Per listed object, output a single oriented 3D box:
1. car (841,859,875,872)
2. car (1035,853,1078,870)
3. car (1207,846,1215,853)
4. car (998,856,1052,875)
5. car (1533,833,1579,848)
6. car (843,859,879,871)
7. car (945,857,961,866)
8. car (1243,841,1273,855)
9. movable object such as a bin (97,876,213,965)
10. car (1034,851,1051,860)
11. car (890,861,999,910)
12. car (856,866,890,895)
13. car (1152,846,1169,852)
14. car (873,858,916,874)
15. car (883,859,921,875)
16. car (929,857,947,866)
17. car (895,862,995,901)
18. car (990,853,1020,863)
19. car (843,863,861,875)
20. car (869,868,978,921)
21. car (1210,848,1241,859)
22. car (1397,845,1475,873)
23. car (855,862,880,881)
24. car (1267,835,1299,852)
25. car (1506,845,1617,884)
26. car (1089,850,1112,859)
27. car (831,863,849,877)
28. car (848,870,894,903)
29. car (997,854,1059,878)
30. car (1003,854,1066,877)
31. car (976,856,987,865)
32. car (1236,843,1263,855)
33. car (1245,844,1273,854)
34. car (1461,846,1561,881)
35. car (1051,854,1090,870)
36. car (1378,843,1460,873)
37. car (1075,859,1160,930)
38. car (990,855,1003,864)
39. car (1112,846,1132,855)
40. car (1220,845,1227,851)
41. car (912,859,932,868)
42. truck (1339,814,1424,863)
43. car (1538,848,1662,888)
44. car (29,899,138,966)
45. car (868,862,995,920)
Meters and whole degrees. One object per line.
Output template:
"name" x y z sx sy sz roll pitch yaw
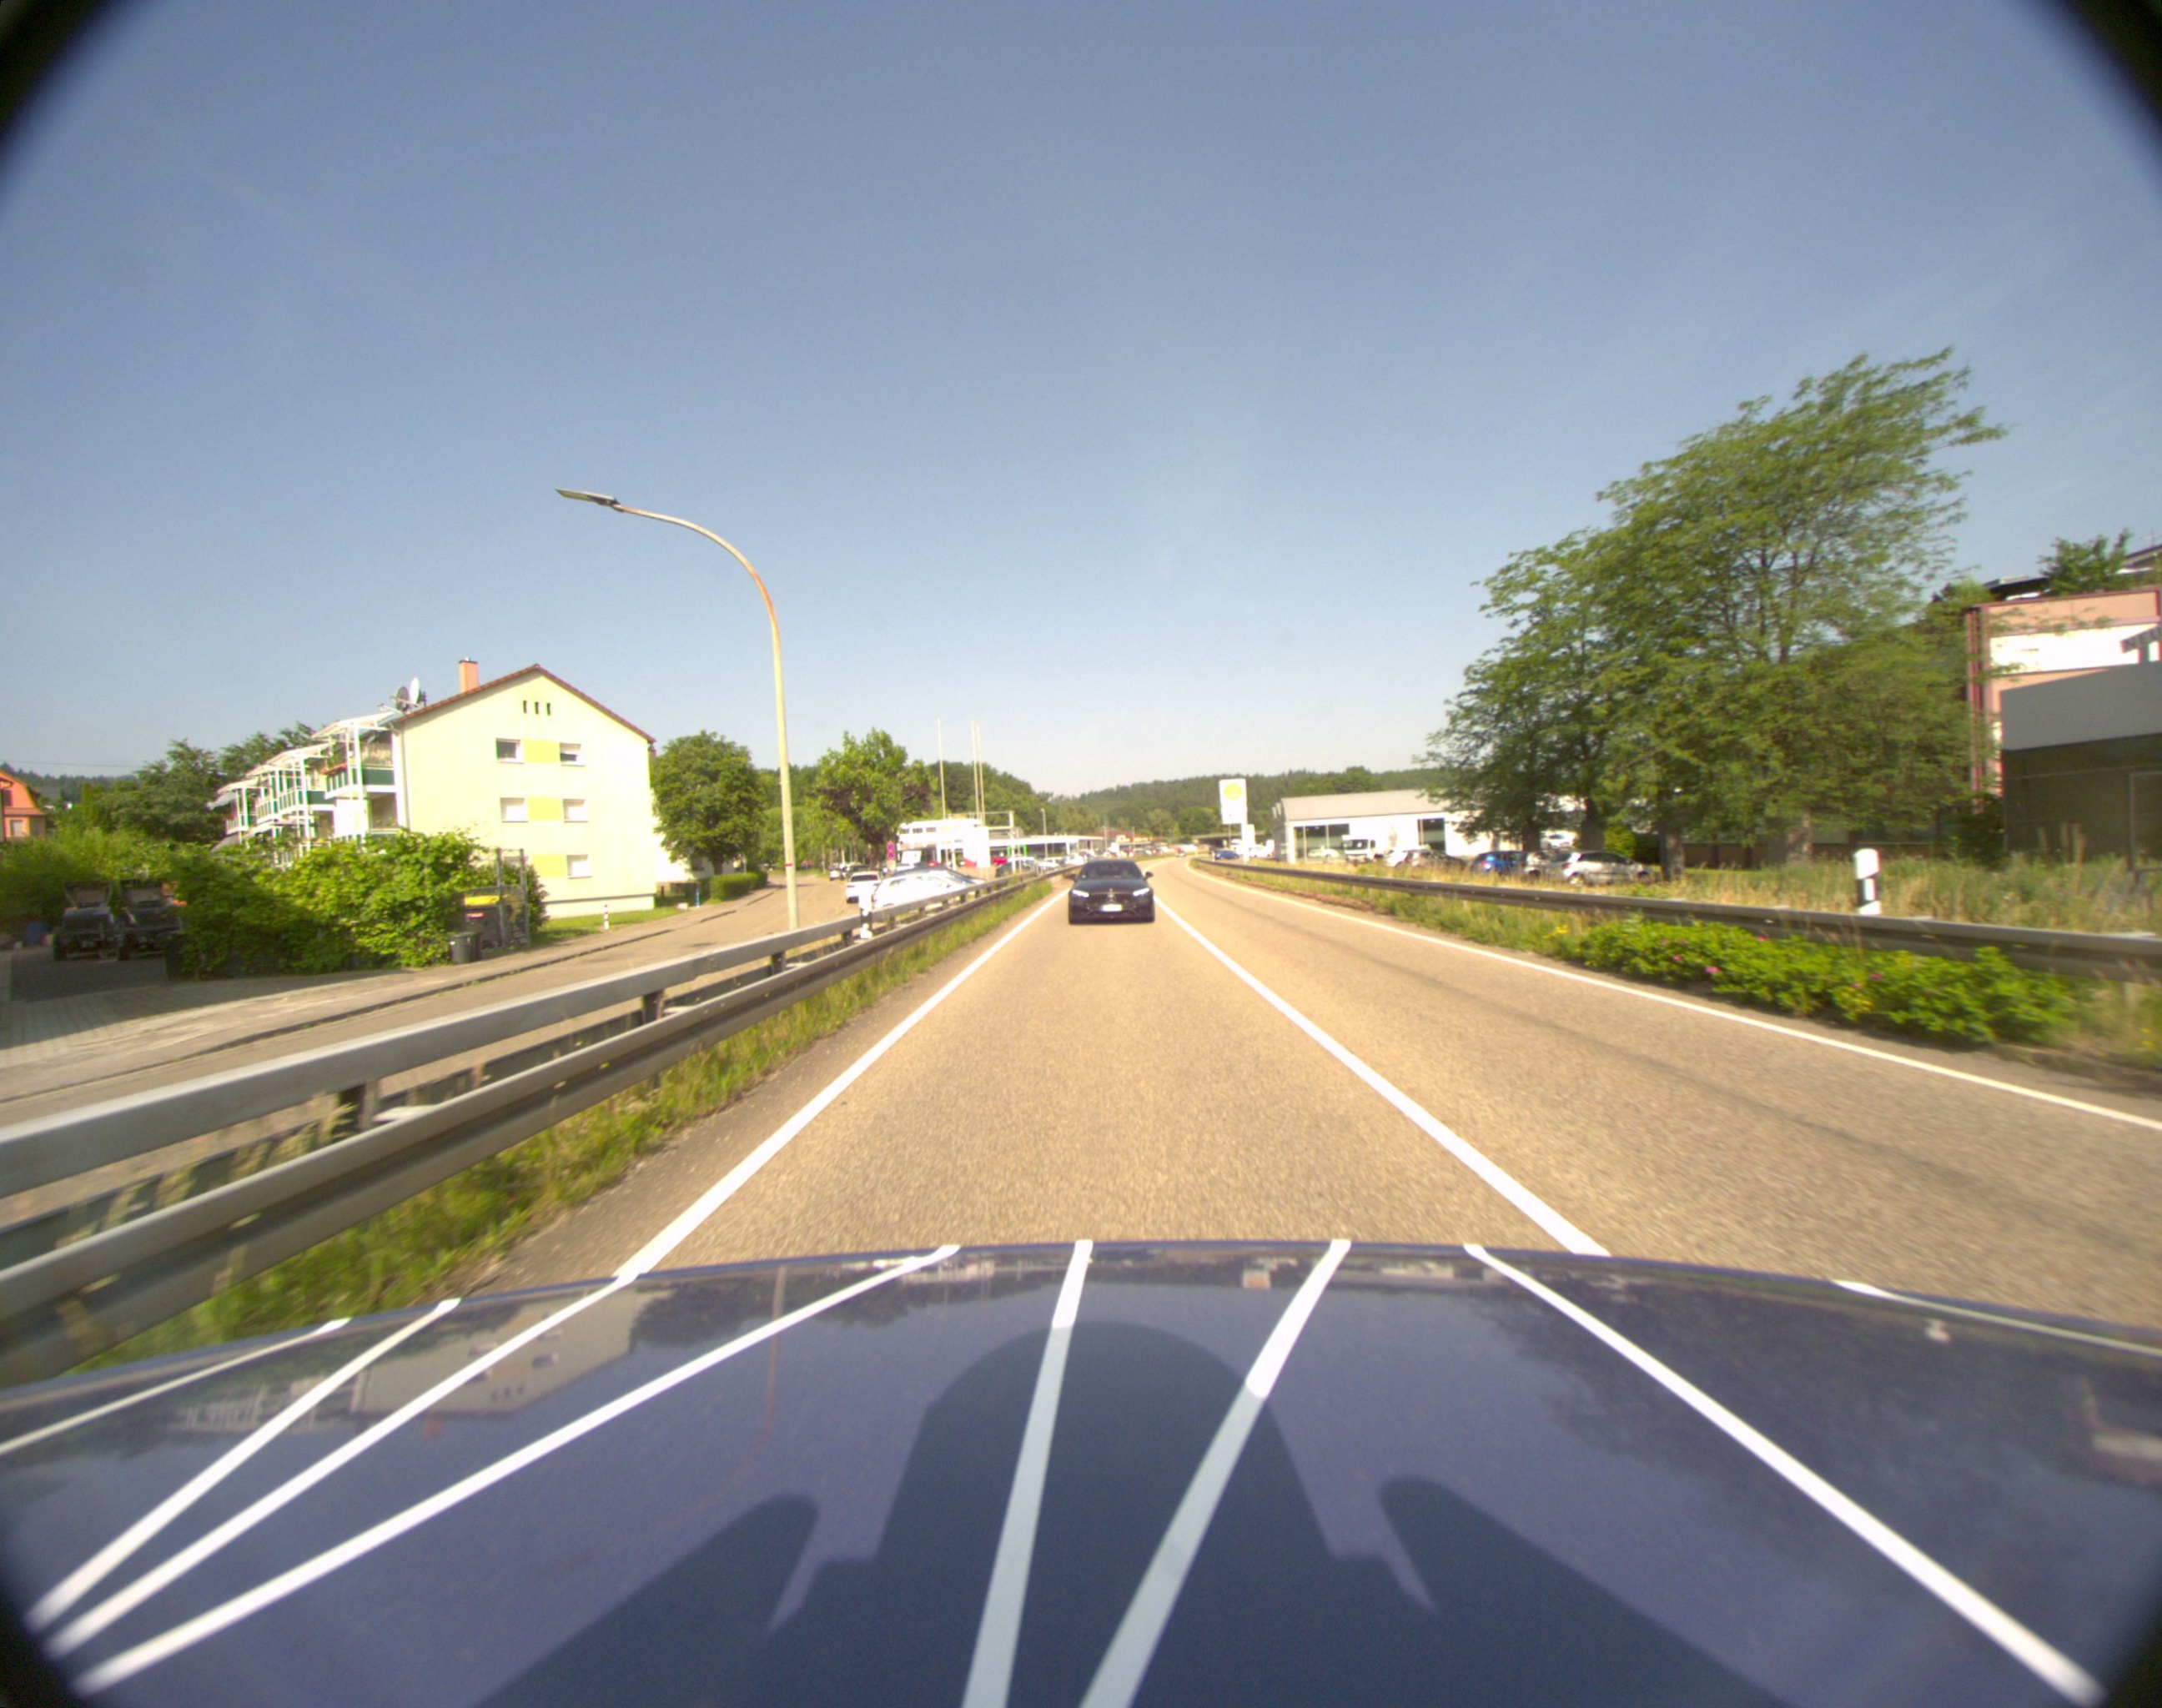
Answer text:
"car" -33.575 1.751 114.634 4.753 1.770 1.929 -2 1 -13
"car" -2.422 0.773 75.041 3.994 1.513 1.698 -2 1 8
"car" 33.432 -1.129 195.267 1.917 1.874 4.914 -1 1 11
"car" -4.730 0.968 65.001 4.329 1.435 1.629 -2 1 6
"car" 41.511 -1.148 66.484 1.726 1.193 4.001 -2 0 5
"car" -31.815 1.555 109.843 4.756 1.579 1.928 -2 1 -21
"car" -24.138 1.338 143.026 2.001 1.537 4.610 -1 1 3
"car" 30.227 -1.064 129.596 4.800 1.970 2.230 -4 0 11
"movable object such as a bin" -27.901 1.911 23.009 1.587 2.345 3.524 -8 4 -44
"car" -7.419 0.261 145.615 1.933 1.556 4.743 -2 1 -20
"car" -5.336 1.199 30.117 3.999 1.441 1.763 -6 1 -6
"car" -11.884 1.460 43.266 1.710 1.397 4.478 -2 1 -16
"car" 20.078 -1.241 191.809 4.044 1.499 1.808 -1 1 20
"car" -20.907 1.376 85.173 4.499 1.591 1.839 -2 1 -15
"car" -19.223 1.350 81.550 3.768 1.513 1.654 -2 1 -18
"car" -26.972 1.432 143.406 2.001 1.537 4.612 -1 1 8
"car" -5.806 1.151 32.496 4.072 1.444 1.726 -2 1 -12
"car" -12.769 0.728 127.831 4.743 1.556 1.933 -1 1 14
"car" -24.919 1.603 82.728 1.595 1.179 3.656 -2 1 -20
"car" -5.081 1.288 24.853 3.274 1.368 1.548 -5 2 -8
"car" 21.554 -0.024 113.479 4.238 1.498 1.981 -2 0 -29
"car" 21.365 0.276 45.858 3.756 1.491 1.932 -3 1 2
"car" -18.219 1.472 64.851 1.916 1.397 4.518 -2 1 -16
"car" 38.257 -2.028 144.100 5.730 2.729 2.287 -4 1 13
"car" 21.455 0.469 34.100 3.754 1.491 1.859 -3 1 11
"car" 3.673 0.068 142.744 4.083 1.600 1.793 -2 1 11
"car" -27.916 1.834 87.959 1.788 1.466 3.982 -2 1 -16
"car" -10.312 1.557 37.560 1.789 1.411 4.434 -2 0 -11
"car" -3.874 0.891 56.026 4.157 1.474 1.883 -4 1 10
"car" -3.580 0.905 59.056 4.325 1.630 2.142 -2 1 16
"car" -18.689 1.148 142.848 2.003 1.537 4.607 -1 1 -5
"car" 31.182 -0.882 140.523 4.679 1.847 2.145 -4 0 11
"car" 29.194 -0.780 124.350 4.236 1.395 1.893 -4 1 -29
"car" 20.943 0.454 37.132 3.756 1.491 1.932 -3 1 4
"car" -1.131 0.871 82.874 3.996 1.571 1.778 -2 1 4
"car" 21.582 0.237 48.647 4.361 1.645 1.932 -3 1 2
"car" 0.768 0.886 18.335 1.716 1.382 4.146 -1 1 -1
"car" -15.897 1.038 143.509 2.004 1.537 4.605 -2 1 -11
"car" 8.534 -0.696 158.623 3.882 1.654 1.842 -1 1 21
"car" 41.245 -1.696 219.789 1.794 1.620 4.231 -1 1 15
"car" -28.983 1.755 138.462 1.836 1.537 4.467 -1 1 14
"truck" 23.934 -1.258 60.293 8.227 3.536 2.799 -3 0 -42
"car" 21.028 0.539 30.909 3.756 1.452 1.862 -2 1 4
"car" -32.236 2.474 24.671 3.989 1.729 1.819 -2 4 40
"car" -5.414 1.312 27.890 4.246 1.563 1.917 -6 2 -9
